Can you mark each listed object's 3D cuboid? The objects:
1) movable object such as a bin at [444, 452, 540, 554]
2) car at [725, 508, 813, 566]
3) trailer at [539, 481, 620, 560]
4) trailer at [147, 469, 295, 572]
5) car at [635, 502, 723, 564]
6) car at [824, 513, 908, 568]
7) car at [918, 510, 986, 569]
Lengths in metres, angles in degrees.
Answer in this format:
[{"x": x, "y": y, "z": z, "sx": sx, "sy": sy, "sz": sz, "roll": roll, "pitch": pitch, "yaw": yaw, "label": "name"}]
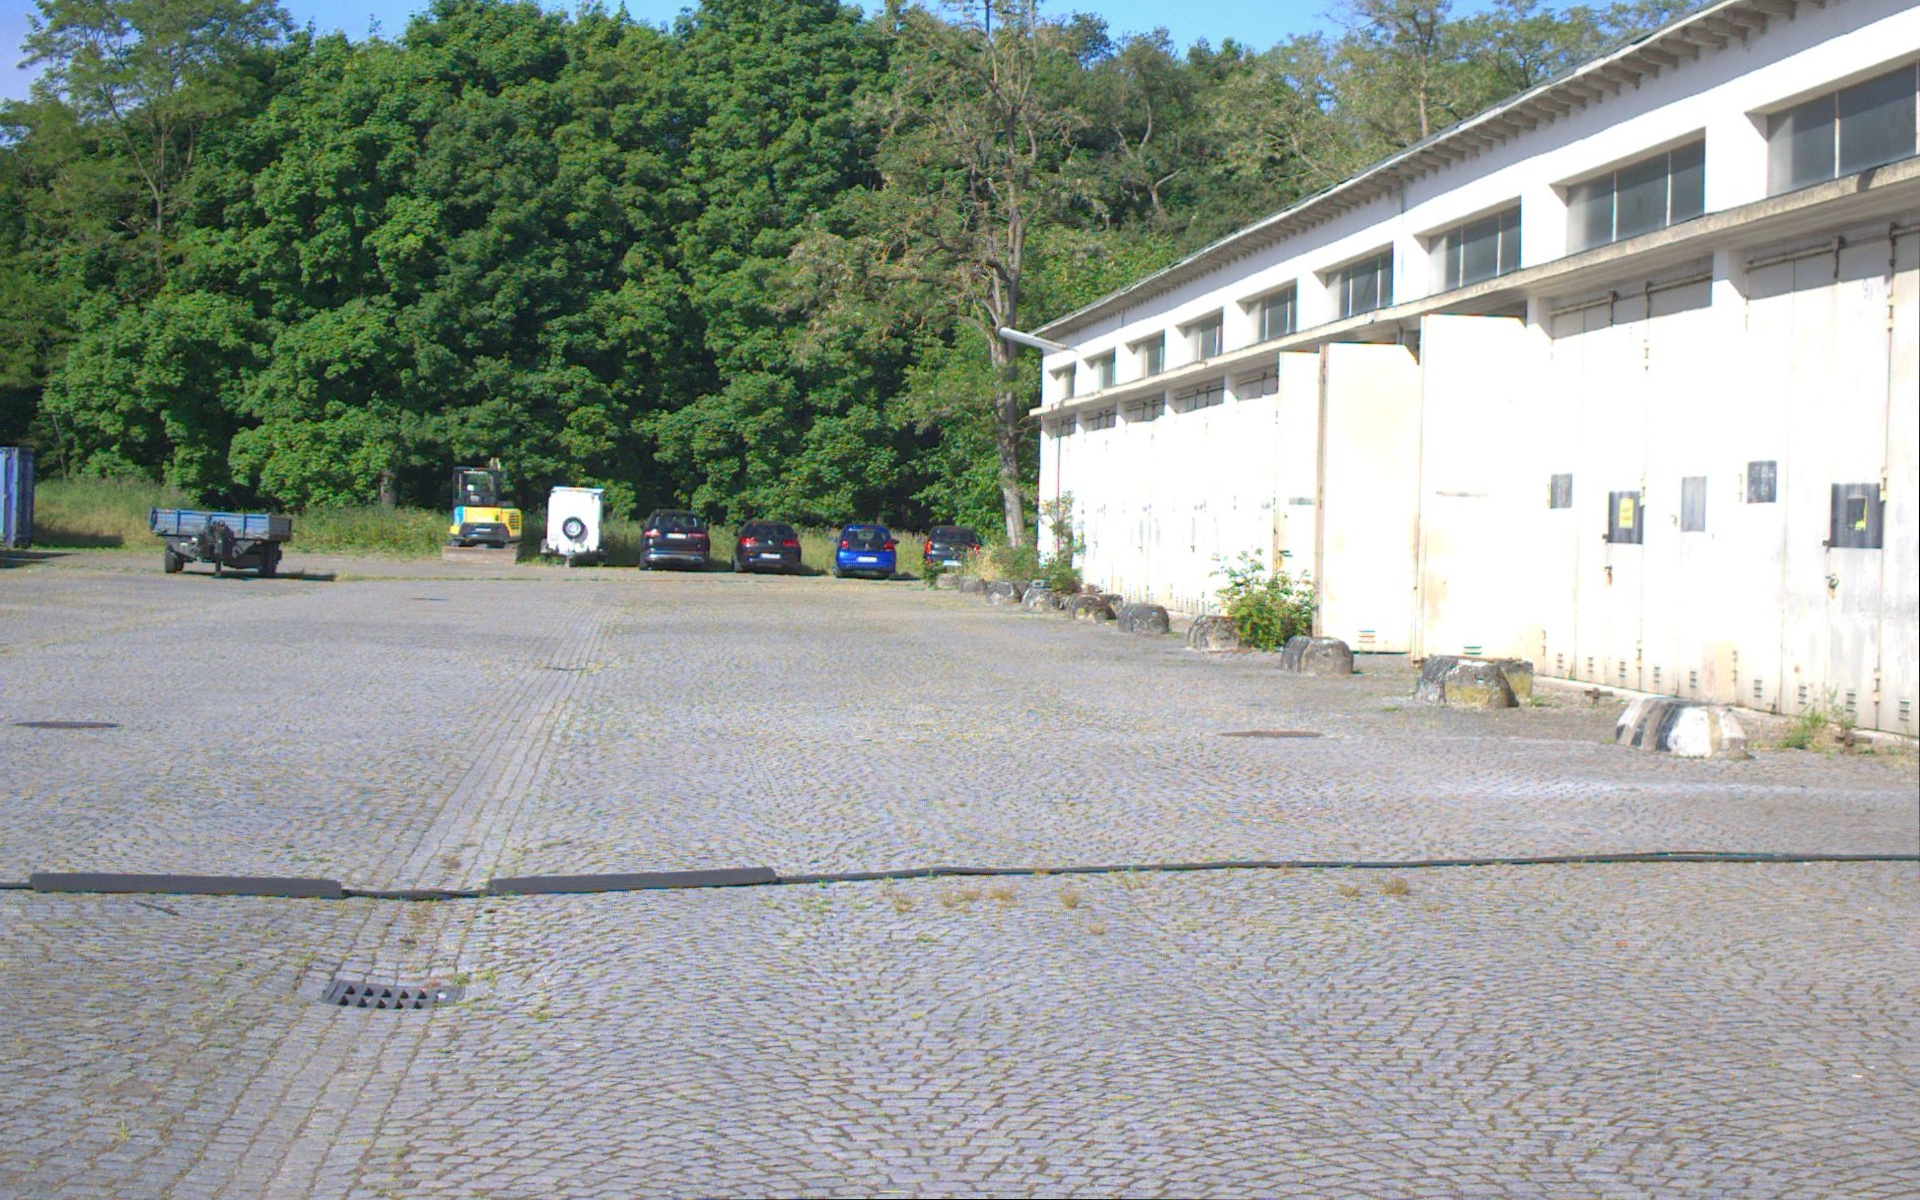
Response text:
[{"x": -12.788, "y": -2.655, "z": 94.134, "sx": 1.993, "sy": 2.609, "sz": 4.000, "roll": 4, "pitch": 1, "yaw": -1, "label": "movable object such as a bin"}, {"x": -5.148, "y": -1.709, "z": 93.018, "sx": 1.993, "sy": 1.457, "sz": 4.000, "roll": 2, "pitch": 1, "yaw": 2, "label": "car"}, {"x": -10.388, "y": -2.174, "z": 94.071, "sx": 1.793, "sy": 2.083, "sz": 3.972, "roll": 2, "pitch": 1, "yaw": -1, "label": "trailer"}, {"x": -15.969, "y": -1.715, "z": 74.511, "sx": 2.407, "sy": 2.007, "sz": 4.174, "roll": 4, "pitch": 1, "yaw": -3, "label": "trailer"}, {"x": -7.532, "y": -1.800, "z": 92.483, "sx": 1.861, "sy": 1.580, "sz": 4.000, "roll": 2, "pitch": 1, "yaw": 2, "label": "car"}, {"x": -2.526, "y": -1.617, "z": 93.243, "sx": 1.993, "sy": 1.415, "sz": 4.000, "roll": 2, "pitch": 1, "yaw": 2, "label": "car"}, {"x": -0.193, "y": -1.677, "z": 94.677, "sx": 1.685, "sy": 1.558, "sz": 4.000, "roll": 2, "pitch": 1, "yaw": 2, "label": "car"}]
